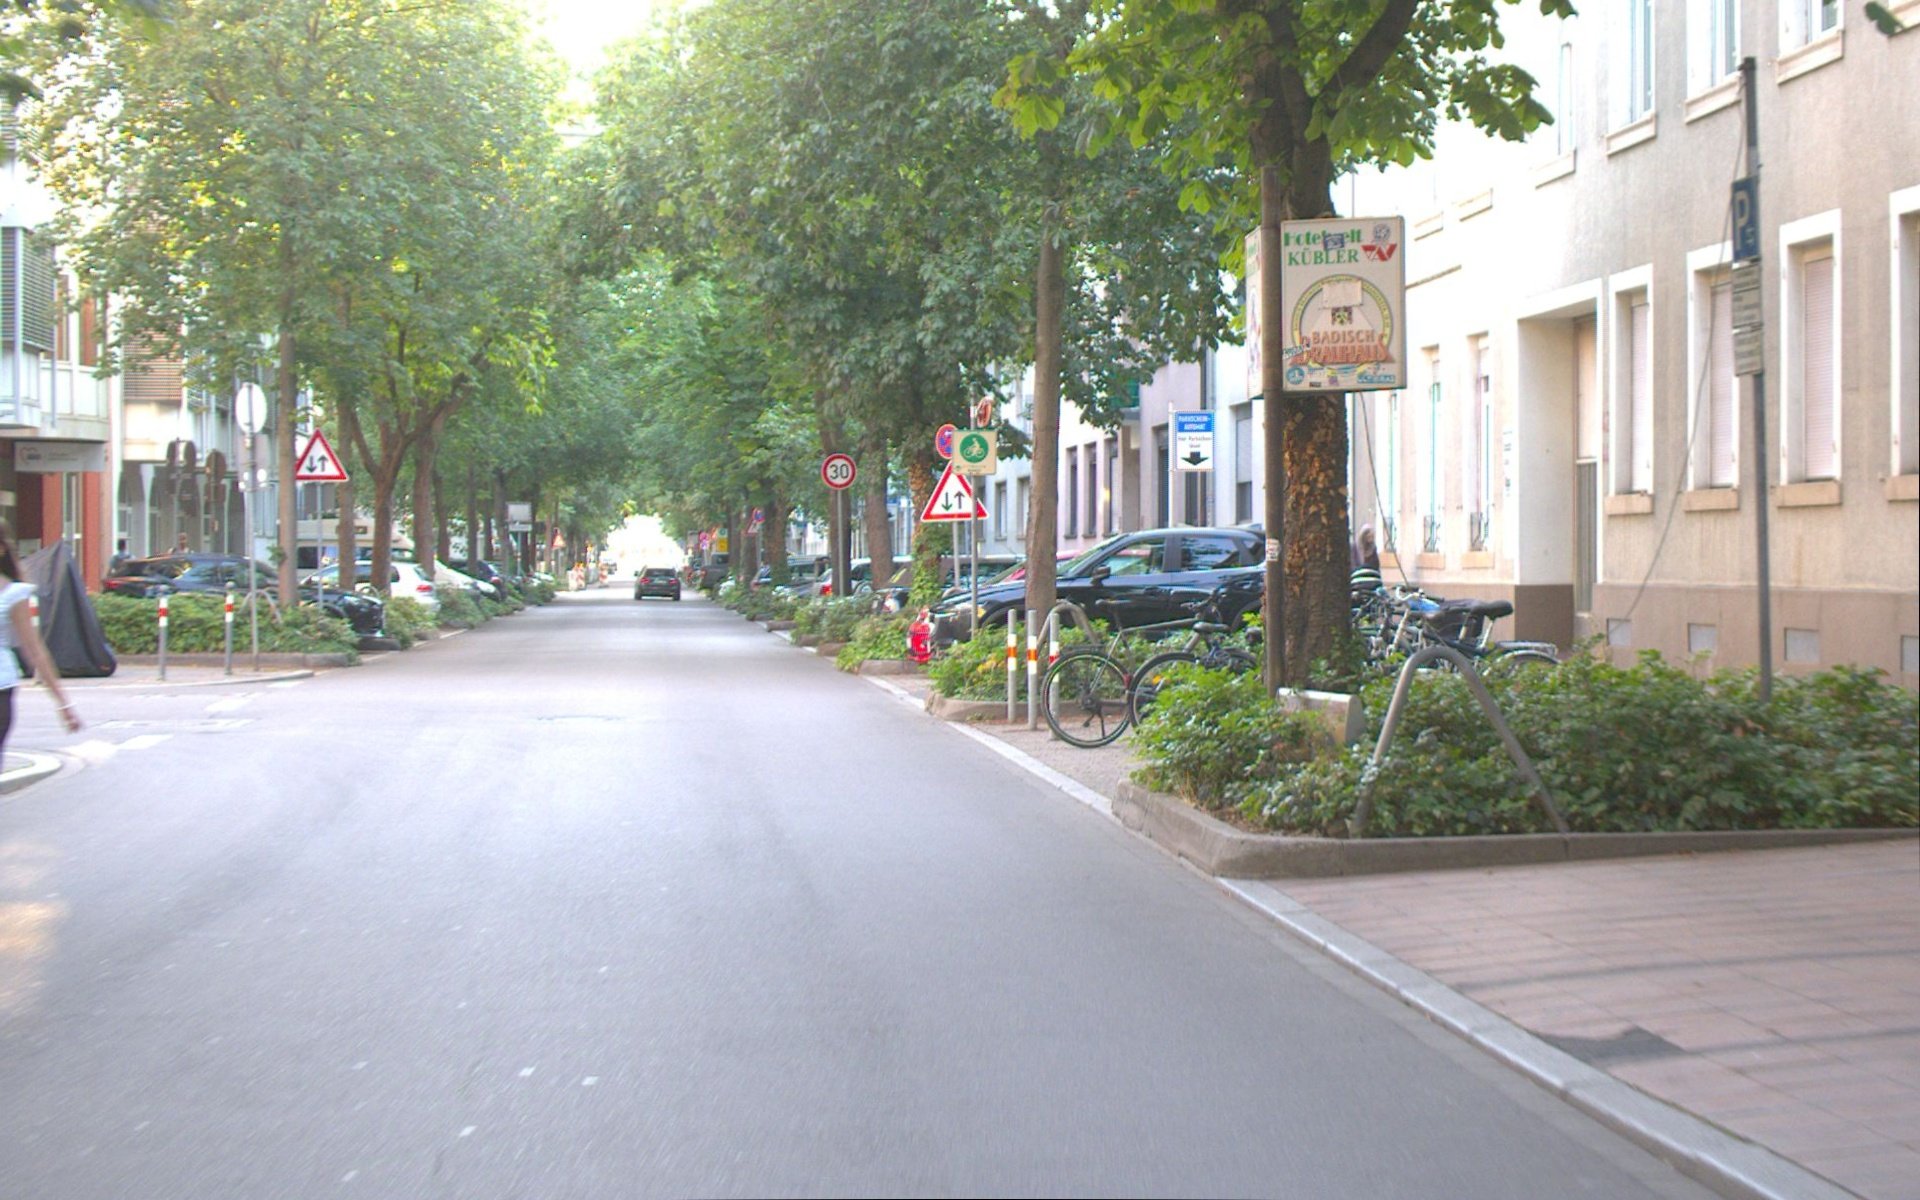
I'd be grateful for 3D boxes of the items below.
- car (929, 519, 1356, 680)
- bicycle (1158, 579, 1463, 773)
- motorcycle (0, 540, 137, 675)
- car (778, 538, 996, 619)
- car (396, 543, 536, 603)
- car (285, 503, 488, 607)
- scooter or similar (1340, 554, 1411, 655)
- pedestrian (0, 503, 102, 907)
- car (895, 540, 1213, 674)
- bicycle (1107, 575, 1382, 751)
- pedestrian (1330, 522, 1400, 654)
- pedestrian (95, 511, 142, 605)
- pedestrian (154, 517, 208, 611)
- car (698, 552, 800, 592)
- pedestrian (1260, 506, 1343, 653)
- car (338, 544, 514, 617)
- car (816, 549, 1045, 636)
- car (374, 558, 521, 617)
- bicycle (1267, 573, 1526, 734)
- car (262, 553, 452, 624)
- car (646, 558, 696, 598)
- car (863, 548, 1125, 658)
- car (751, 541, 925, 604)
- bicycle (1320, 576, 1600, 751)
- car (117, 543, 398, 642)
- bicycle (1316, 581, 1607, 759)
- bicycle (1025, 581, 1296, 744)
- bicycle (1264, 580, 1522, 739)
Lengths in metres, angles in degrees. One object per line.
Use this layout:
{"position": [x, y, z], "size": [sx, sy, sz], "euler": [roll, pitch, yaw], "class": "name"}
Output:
{"position": [1.930, -0.023, 37.269], "size": [4.425, 1.650, 1.900], "euler": [-1, 1, -3], "class": "car"}
{"position": [2.238, 0.477, 22.060], "size": [1.829, 1.174, 0.673], "euler": [-1, 1, -6], "class": "bicycle"}
{"position": [-10.370, 0.076, 38.316], "size": [2.208, 1.476, 0.859], "euler": [0, 2, -23], "class": "motorcycle"}
{"position": [-1.637, -0.484, 75.656], "size": [4.717, 1.704, 1.950], "euler": [0, 1, -3], "class": "car"}
{"position": [-17.549, -0.956, 122.306], "size": [4.761, 1.977, 1.963], "euler": [-2, 0, -5], "class": "car"}
{"position": [-13.831, -1.077, 83.154], "size": [4.681, 2.469, 2.000], "euler": [0, 0, -5], "class": "car"}
{"position": [4.822, 0.044, 39.947], "size": [0.655, 1.149, 0.831], "euler": [-1, 1, -4], "class": "scooter or similar"}
{"position": [-4.125, 0.431, 14.593], "size": [0.794, 1.665, 0.831], "euler": [-1, 1, -6], "class": "pedestrian"}
{"position": [1.075, 0.060, 40.525], "size": [3.482, 1.447, 1.900], "euler": [-1, 1, -7], "class": "car"}
{"position": [2.000, 0.436, 24.252], "size": [1.829, 1.174, 0.601], "euler": [-1, 1, -6], "class": "bicycle"}
{"position": [4.772, -0.145, 40.538], "size": [0.655, 1.531, 0.831], "euler": [-1, 1, -4], "class": "pedestrian"}
{"position": [-15.564, -0.773, 63.619], "size": [0.703, 1.722, 0.905], "euler": [0, 0, -5], "class": "pedestrian"}
{"position": [-14.626, -0.672, 64.540], "size": [0.704, 1.751, 0.739], "euler": [0, 0, 19], "class": "pedestrian"}
{"position": [-9.014, -1.205, 146.748], "size": [4.267, 1.560, 1.963], "euler": [-2, 0, -5], "class": "car"}
{"position": [4.072, -0.248, 40.983], "size": [0.689, 1.731, 0.674], "euler": [-1, 1, -36], "class": "pedestrian"}
{"position": [-14.813, -0.546, 95.566], "size": [4.681, 1.848, 1.963], "euler": [-2, 0, -5], "class": "car"}
{"position": [-0.549, -0.150, 61.816], "size": [3.875, 1.435, 1.848], "euler": [-1, 1, -8], "class": "car"}
{"position": [-15.378, -0.367, 103.271], "size": [4.202, 1.630, 1.963], "euler": [-2, 0, -5], "class": "car"}
{"position": [3.291, 0.393, 25.943], "size": [1.794, 1.139, 0.669], "euler": [-1, 1, -14], "class": "bicycle"}
{"position": [-13.119, -0.253, 74.937], "size": [3.870, 1.481, 1.757], "euler": [1, 1, -3], "class": "car"}
{"position": [-11.910, -0.923, 141.764], "size": [1.956, 1.560, 4.283], "euler": [-2, 1, -5], "class": "car"}
{"position": [0.455, 0.026, 49.029], "size": [3.482, 1.447, 1.900], "euler": [-1, 1, -7], "class": "car"}
{"position": [-3.225, -0.730, 90.949], "size": [4.508, 1.516, 1.996], "euler": [-2, 1, -2], "class": "car"}
{"position": [3.473, 0.430, 23.895], "size": [1.794, 1.139, 0.652], "euler": [-1, 1, -13], "class": "bicycle"}
{"position": [-11.000, -0.121, 54.058], "size": [4.126, 1.481, 1.930], "euler": [1, 1, -6], "class": "car"}
{"position": [3.357, 0.456, 23.065], "size": [1.794, 1.124, 0.664], "euler": [-1, 1, -11], "class": "bicycle"}
{"position": [1.477, 0.448, 25.433], "size": [1.837, 1.131, 0.745], "euler": [-1, 1, -15], "class": "bicycle"}
{"position": [3.177, 0.427, 25.246], "size": [1.794, 1.104, 0.500], "euler": [-1, 1, -10], "class": "bicycle"}
